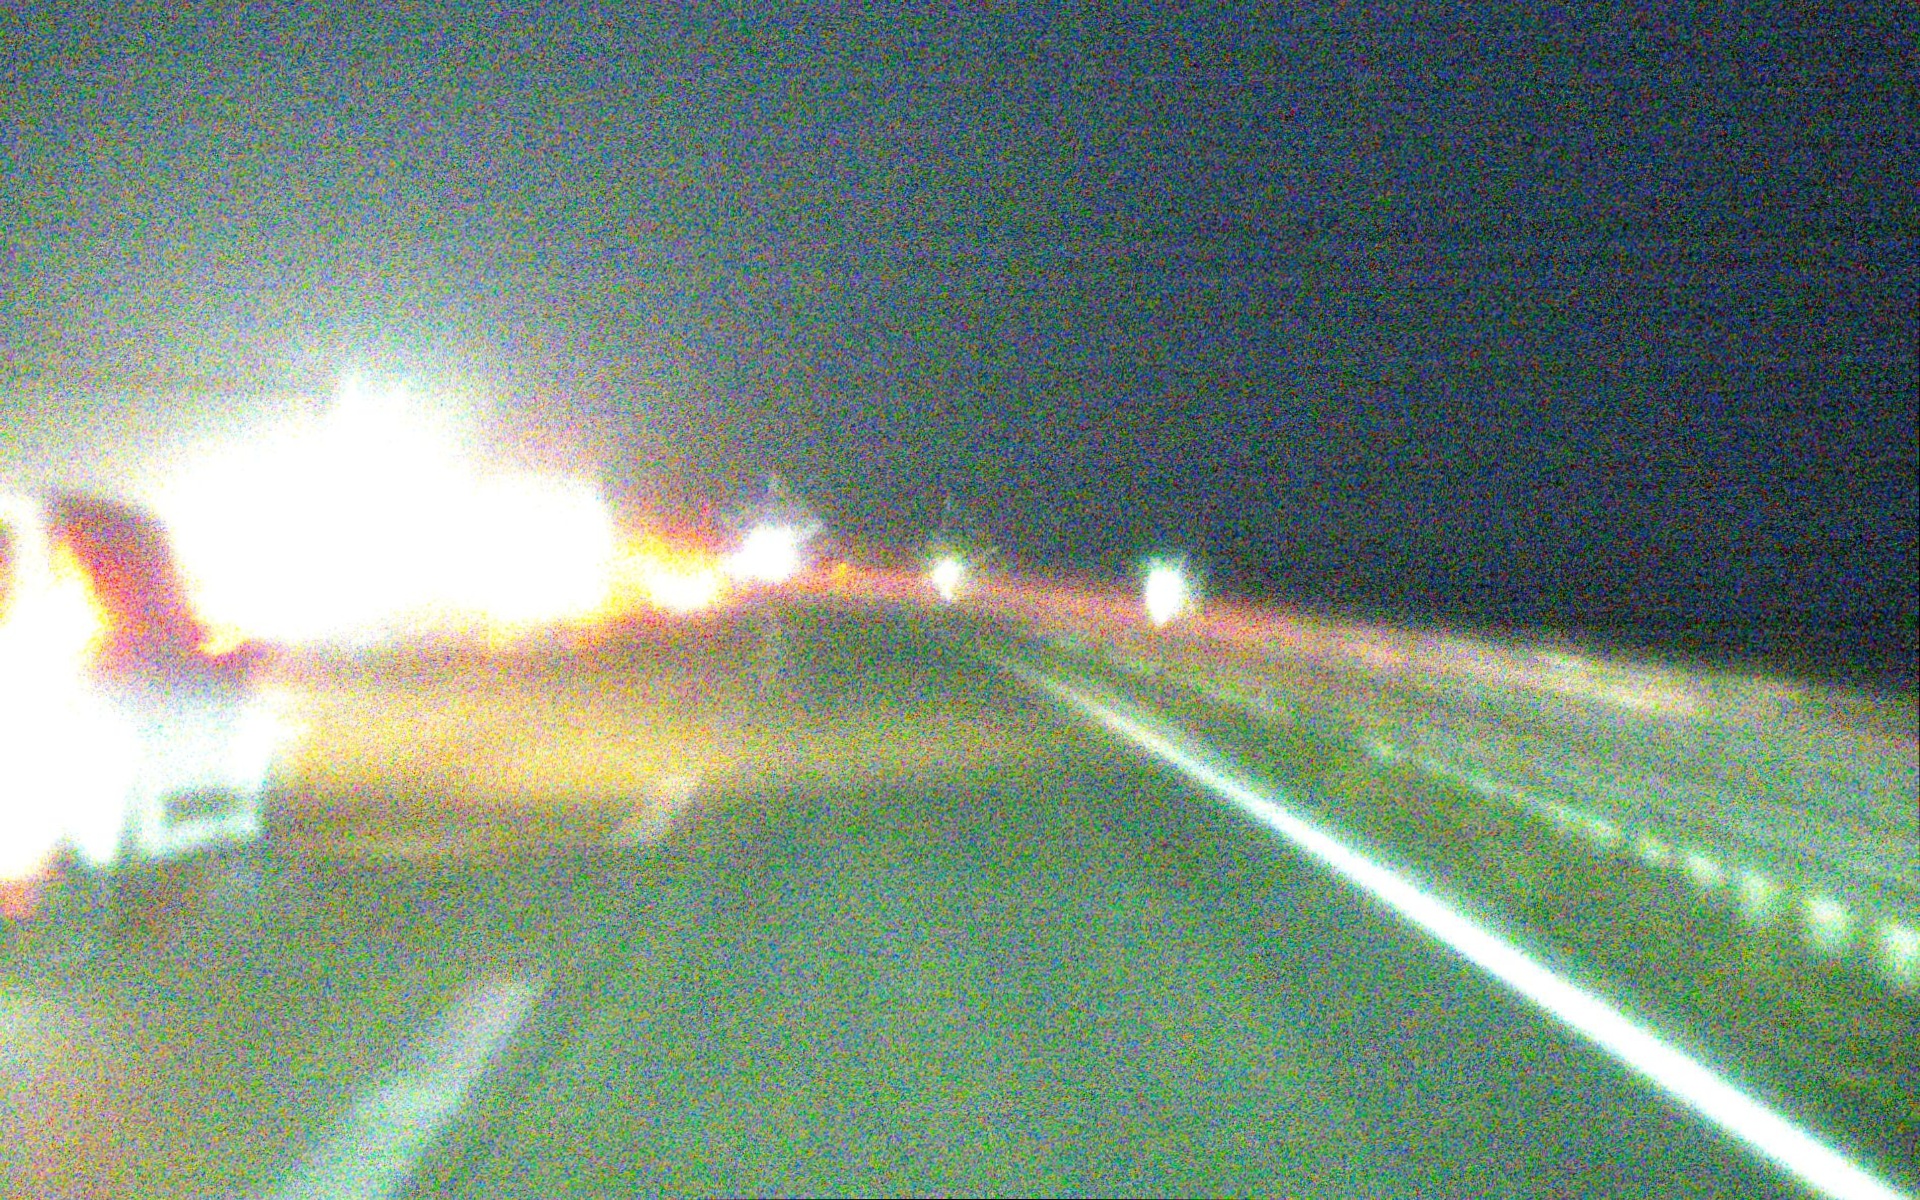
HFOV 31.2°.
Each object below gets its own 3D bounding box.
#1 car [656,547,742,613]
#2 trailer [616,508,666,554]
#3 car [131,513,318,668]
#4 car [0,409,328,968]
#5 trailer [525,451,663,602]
[{"bbox_3d":[-7.733,-0.601,102.068,1.994,1.812,4.000,3,1,2],"label":"car"},{"bbox_3d":[-20.089,-4.305,216.730,2.687,2.690,12.860,3,1,-4],"label":"trailer"},{"bbox_3d":[-10.459,-0.159,49.186,1.993,2.007,4.569,3,1,-5],"label":"car"},{"bbox_3d":[-4.132,0.280,14.853,1.993,2.007,5.018,1,1,-2],"label":"car"},{"bbox_3d":[-9.950,-1.948,94.710,2.591,3.712,13.654,4,0,-2],"label":"trailer"}]
